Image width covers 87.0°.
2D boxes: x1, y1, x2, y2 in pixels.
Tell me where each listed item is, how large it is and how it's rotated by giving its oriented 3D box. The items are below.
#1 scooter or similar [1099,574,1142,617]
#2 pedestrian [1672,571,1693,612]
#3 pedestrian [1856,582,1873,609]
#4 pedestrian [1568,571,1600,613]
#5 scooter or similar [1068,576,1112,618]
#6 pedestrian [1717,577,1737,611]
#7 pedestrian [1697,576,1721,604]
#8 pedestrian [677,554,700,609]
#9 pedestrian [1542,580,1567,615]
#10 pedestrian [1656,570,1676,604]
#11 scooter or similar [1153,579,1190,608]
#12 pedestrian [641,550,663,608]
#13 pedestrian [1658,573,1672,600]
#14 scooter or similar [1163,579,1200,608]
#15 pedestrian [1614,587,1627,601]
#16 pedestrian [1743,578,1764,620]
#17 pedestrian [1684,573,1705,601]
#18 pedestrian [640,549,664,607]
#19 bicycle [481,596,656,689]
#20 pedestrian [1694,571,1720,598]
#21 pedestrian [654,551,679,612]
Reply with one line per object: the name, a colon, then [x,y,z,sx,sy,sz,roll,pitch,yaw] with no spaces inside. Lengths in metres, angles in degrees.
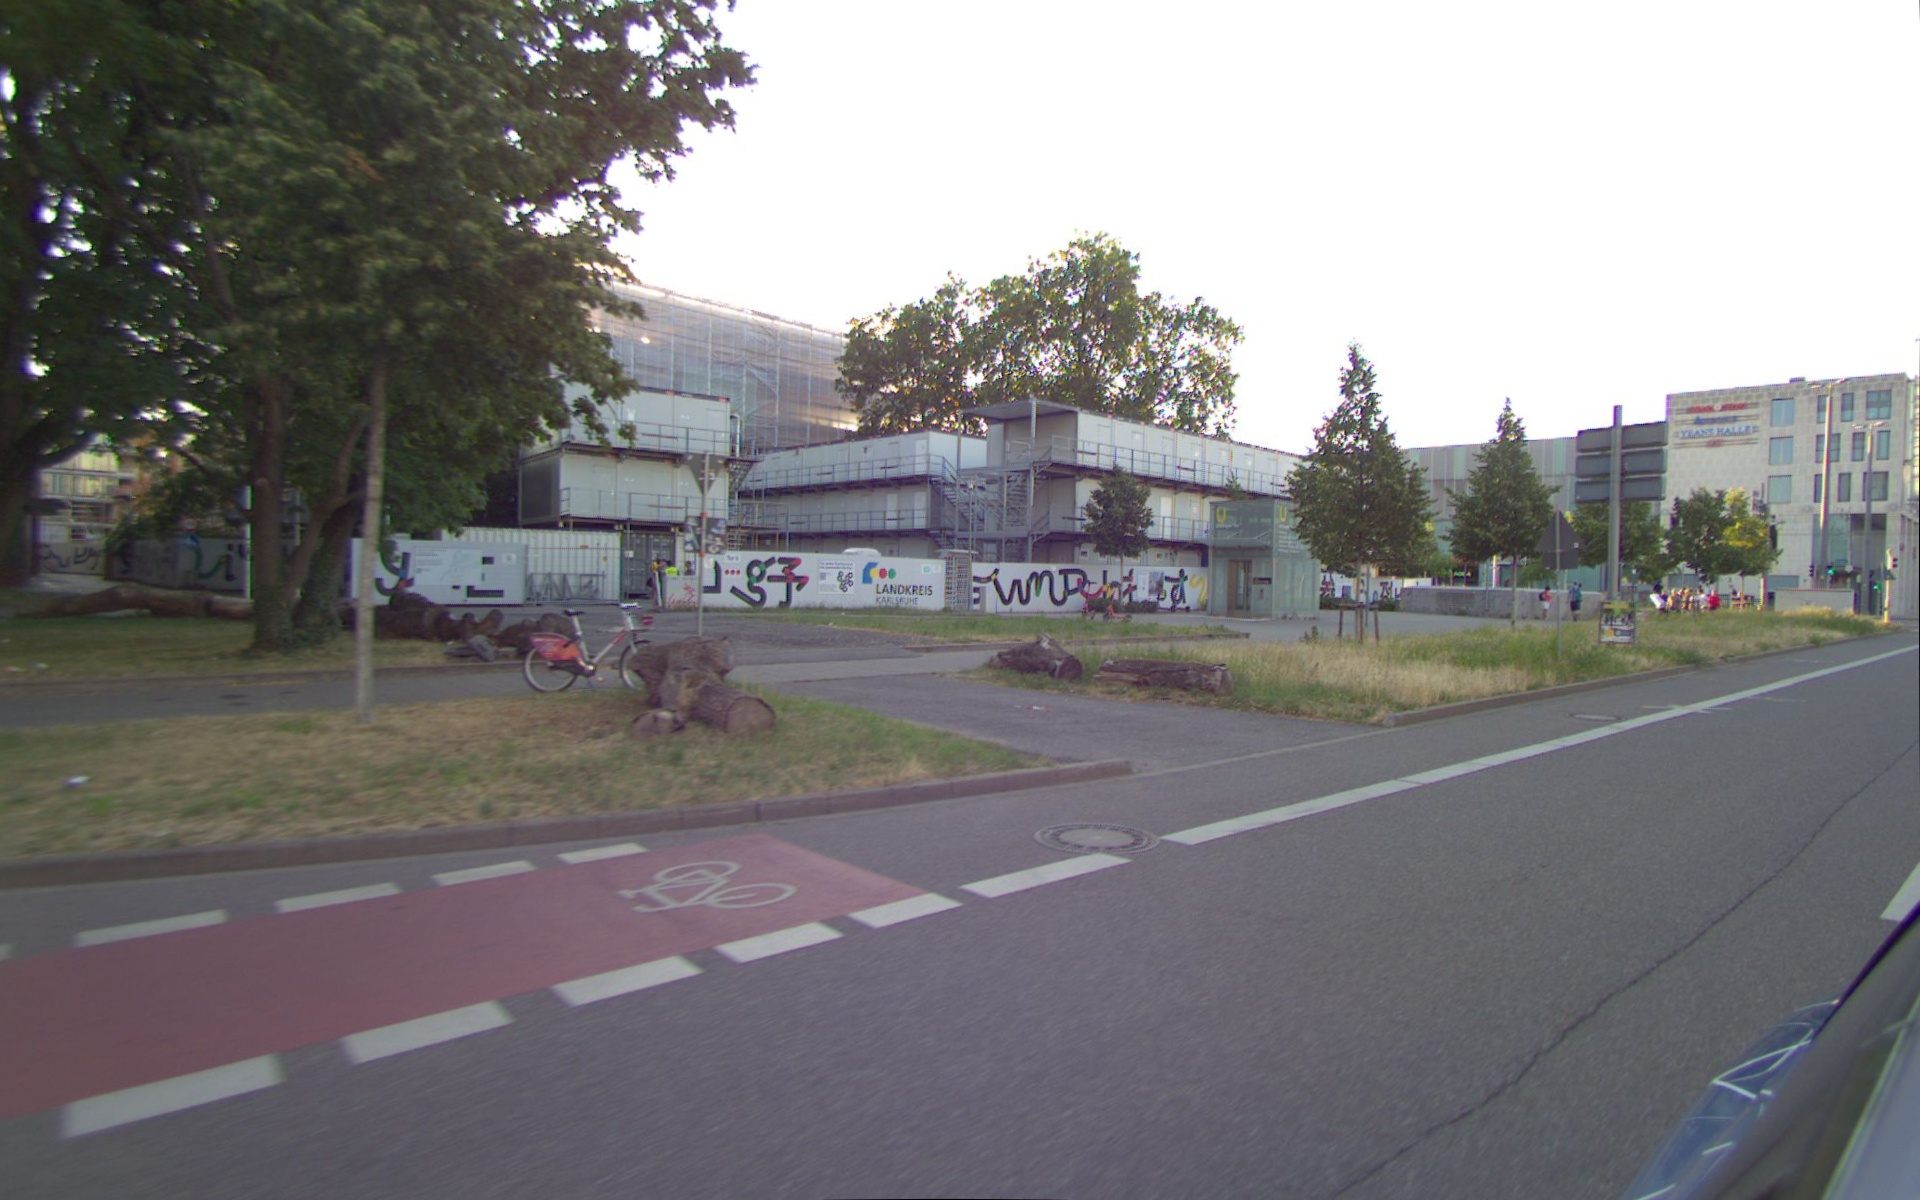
scooter or similar: [4.853,-0.127,30.509,1.374,1.235,0.424,0,4,-41]
pedestrian: [35.350,-0.430,49.541,0.608,1.957,0.644,0,2,-39]
pedestrian: [57.364,-0.289,64.187,0.855,1.680,0.644,1,1,-40]
pedestrian: [28.147,-0.376,45.646,1.027,1.838,0.817,2,1,-36]
scooter or similar: [4.032,-0.104,31.350,0.473,1.235,1.550,6,4,42]
pedestrian: [39.628,-0.319,52.284,0.855,1.734,0.644,0,2,-40]
pedestrian: [51.743,-0.715,69.914,0.986,1.876,0.896,0,4,-29]
pedestrian: [-9.140,-0.631,34.091,0.588,1.843,0.771,1,1,-26]
pedestrian: [26.812,-0.114,45.673,0.633,1.509,0.761,3,0,-42]
pedestrian: [36.020,-0.656,51.640,0.749,1.734,0.644,2,0,-40]
scooter or similar: [9.121,-0.279,43.625,0.466,1.236,1.571,0,0,-43]
pedestrian: [-10.491,-0.716,34.478,0.588,1.925,0.771,1,1,-26]
pedestrian: [49.200,-0.967,70.608,0.575,1.877,0.604,0,2,-37]
scooter or similar: [9.676,-0.297,44.211,0.466,1.236,1.571,0,0,-43]
pedestrian: [46.789,-0.404,71.666,0.648,0.975,0.644,2,2,44]
pedestrian: [37.881,-0.041,48.303,0.608,1.957,0.643,0,1,-41]
pedestrian: [51.406,-0.895,70.859,0.882,1.876,0.723,3,4,15]
pedestrian: [-10.200,-0.729,33.510,0.588,1.879,0.771,1,1,-26]
bicycle: [-4.599,0.500,11.955,1.858,1.017,0.497,2,3,-21]
pedestrian: [50.985,-1.051,69.104,0.986,1.744,0.873,1,4,-15]
pedestrian: [-9.402,-0.596,32.403,0.588,1.943,0.771,1,1,-26]
